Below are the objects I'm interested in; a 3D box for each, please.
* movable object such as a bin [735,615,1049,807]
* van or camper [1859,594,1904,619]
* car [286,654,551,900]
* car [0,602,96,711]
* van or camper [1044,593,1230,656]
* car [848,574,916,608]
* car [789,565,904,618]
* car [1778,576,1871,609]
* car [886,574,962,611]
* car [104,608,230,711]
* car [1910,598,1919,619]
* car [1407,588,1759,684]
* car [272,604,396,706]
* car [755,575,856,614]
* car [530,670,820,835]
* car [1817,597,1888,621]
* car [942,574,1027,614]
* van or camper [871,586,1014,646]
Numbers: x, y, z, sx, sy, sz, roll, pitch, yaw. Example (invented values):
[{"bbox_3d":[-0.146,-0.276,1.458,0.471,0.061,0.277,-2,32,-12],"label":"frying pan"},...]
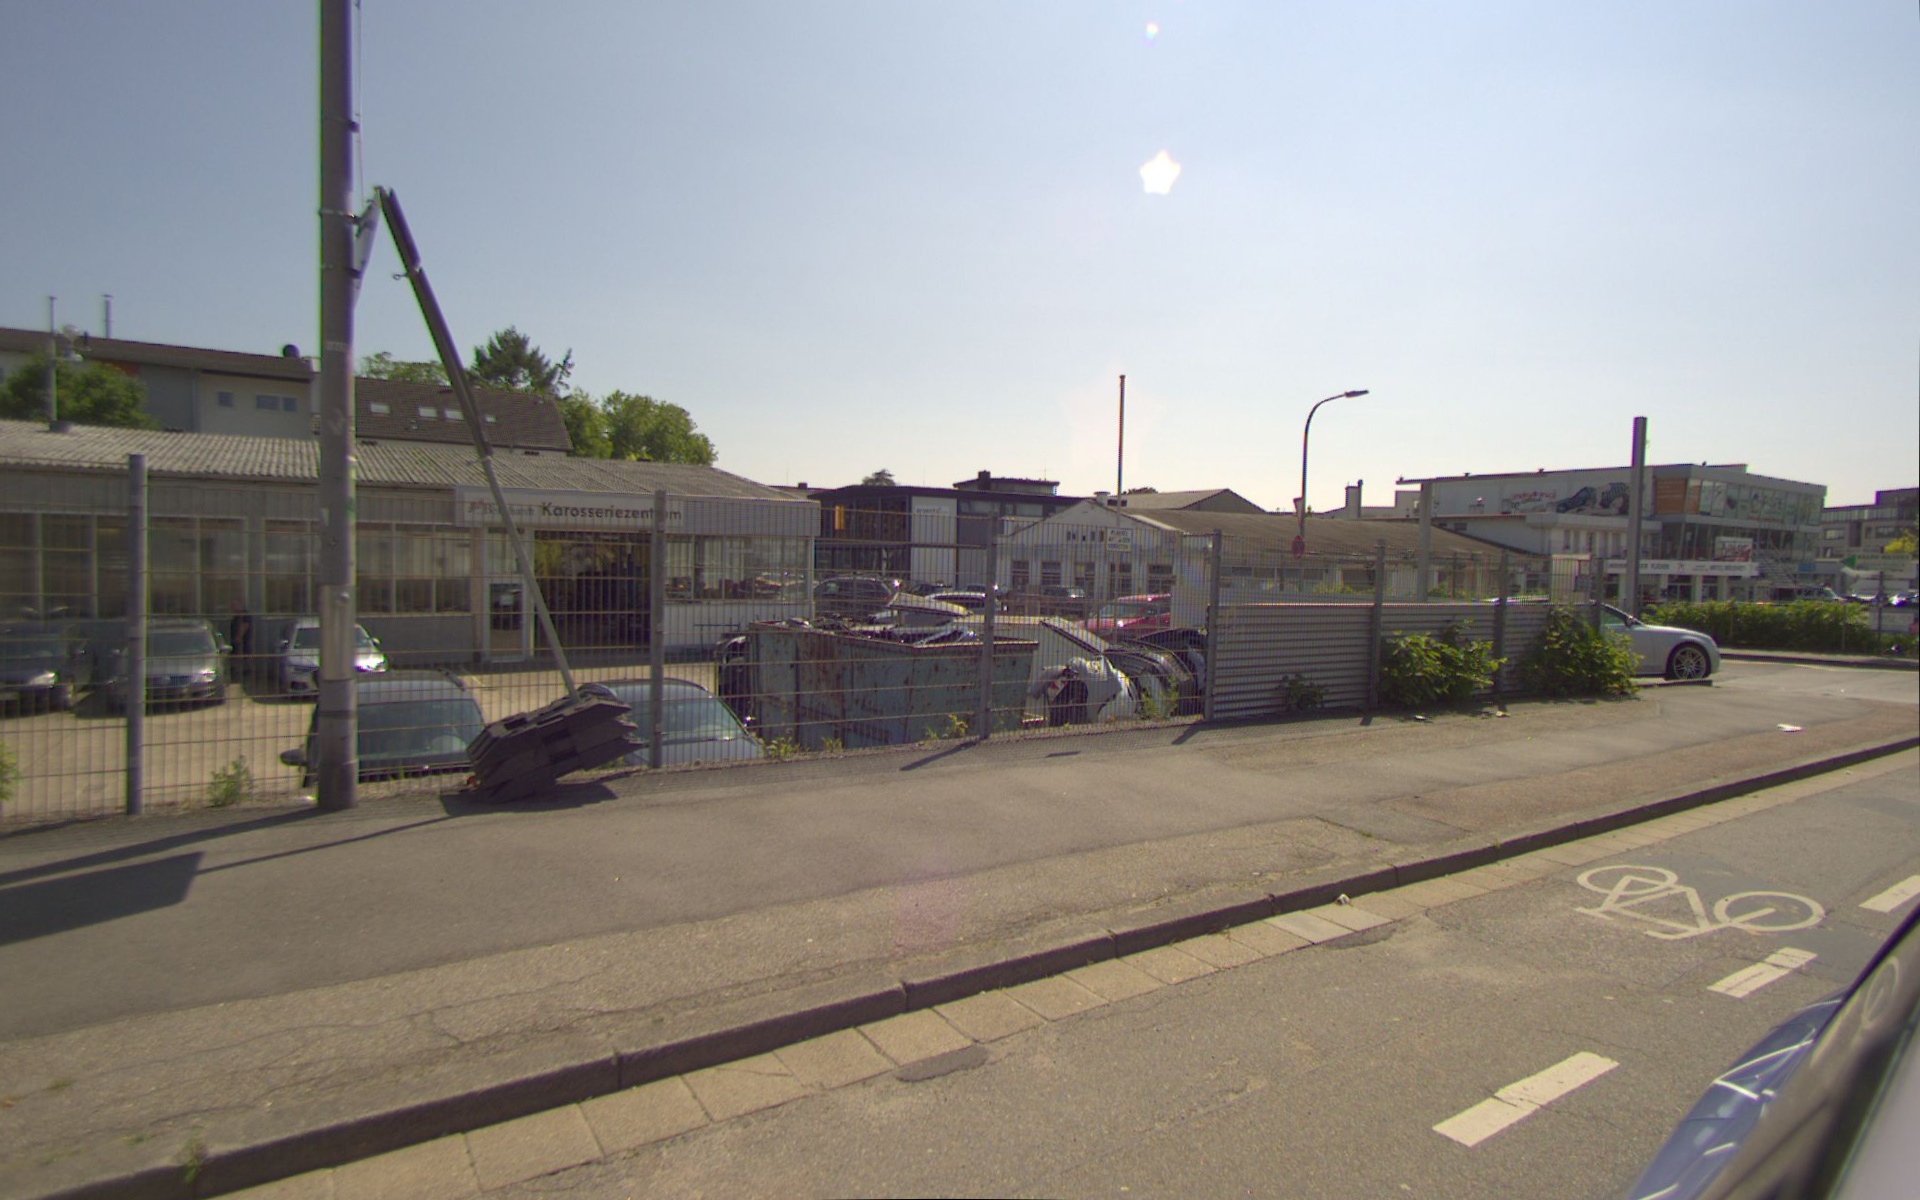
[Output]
[{"bbox_3d":[-1.160,1.251,13.752,1.961,2.039,5.133,1,-1,-34],"label":"movable object such as a bin"},{"bbox_3d":[79.798,0.558,87.625,5.024,2.038,2.122,1,2,-40],"label":"van or camper"},{"bbox_3d":[-5.794,1.577,10.570,1.962,1.671,4.001,1,2,-35],"label":"car"},{"bbox_3d":[-18.351,1.030,19.715,1.963,1.682,4.001,-2,4,-36],"label":"car"},{"bbox_3d":[4.235,0.602,24.024,4.149,1.369,1.999,1,-4,-36],"label":"van or camper"},{"bbox_3d":[-4.473,-0.530,57.323,1.963,1.794,3.999,1,1,-37],"label":"car"},{"bbox_3d":[-4.056,-0.297,36.512,3.920,1.668,2.002,3,0,-4],"label":"car"},{"bbox_3d":[70.076,-0.636,82.088,2.283,2.448,5.312,1,2,-38],"label":"car"},{"bbox_3d":[-1.932,-0.396,52.775,1.963,1.682,4.000,1,2,-37],"label":"car"},{"bbox_3d":[-15.866,1.094,20.403,1.813,1.533,4.001,-2,4,-36],"label":"car"},{"bbox_3d":[78.308,0.807,79.854,1.963,1.698,4.552,1,2,-37],"label":"car"},{"bbox_3d":[9.777,0.554,16.115,4.408,1.376,1.959,-1,-1,-4],"label":"car"},{"bbox_3d":[-13.652,1.090,21.962,1.963,1.682,4.001,-2,4,-36],"label":"car"},{"bbox_3d":[-5.895,-0.212,38.908,3.748,1.482,1.796,0,0,-5],"label":"car"},{"bbox_3d":[-3.526,1.634,12.029,1.963,1.319,3.997,1,-1,-38],"label":"car"},{"bbox_3d":[74.933,0.732,84.972,1.963,1.754,4.118,1,2,-37],"label":"car"},{"bbox_3d":[1.127,-0.291,48.521,1.963,1.816,3.998,1,0,-37],"label":"car"},{"bbox_3d":[-0.604,0.470,30.902,4.143,1.560,2.005,0,6,-7],"label":"van or camper"}]
